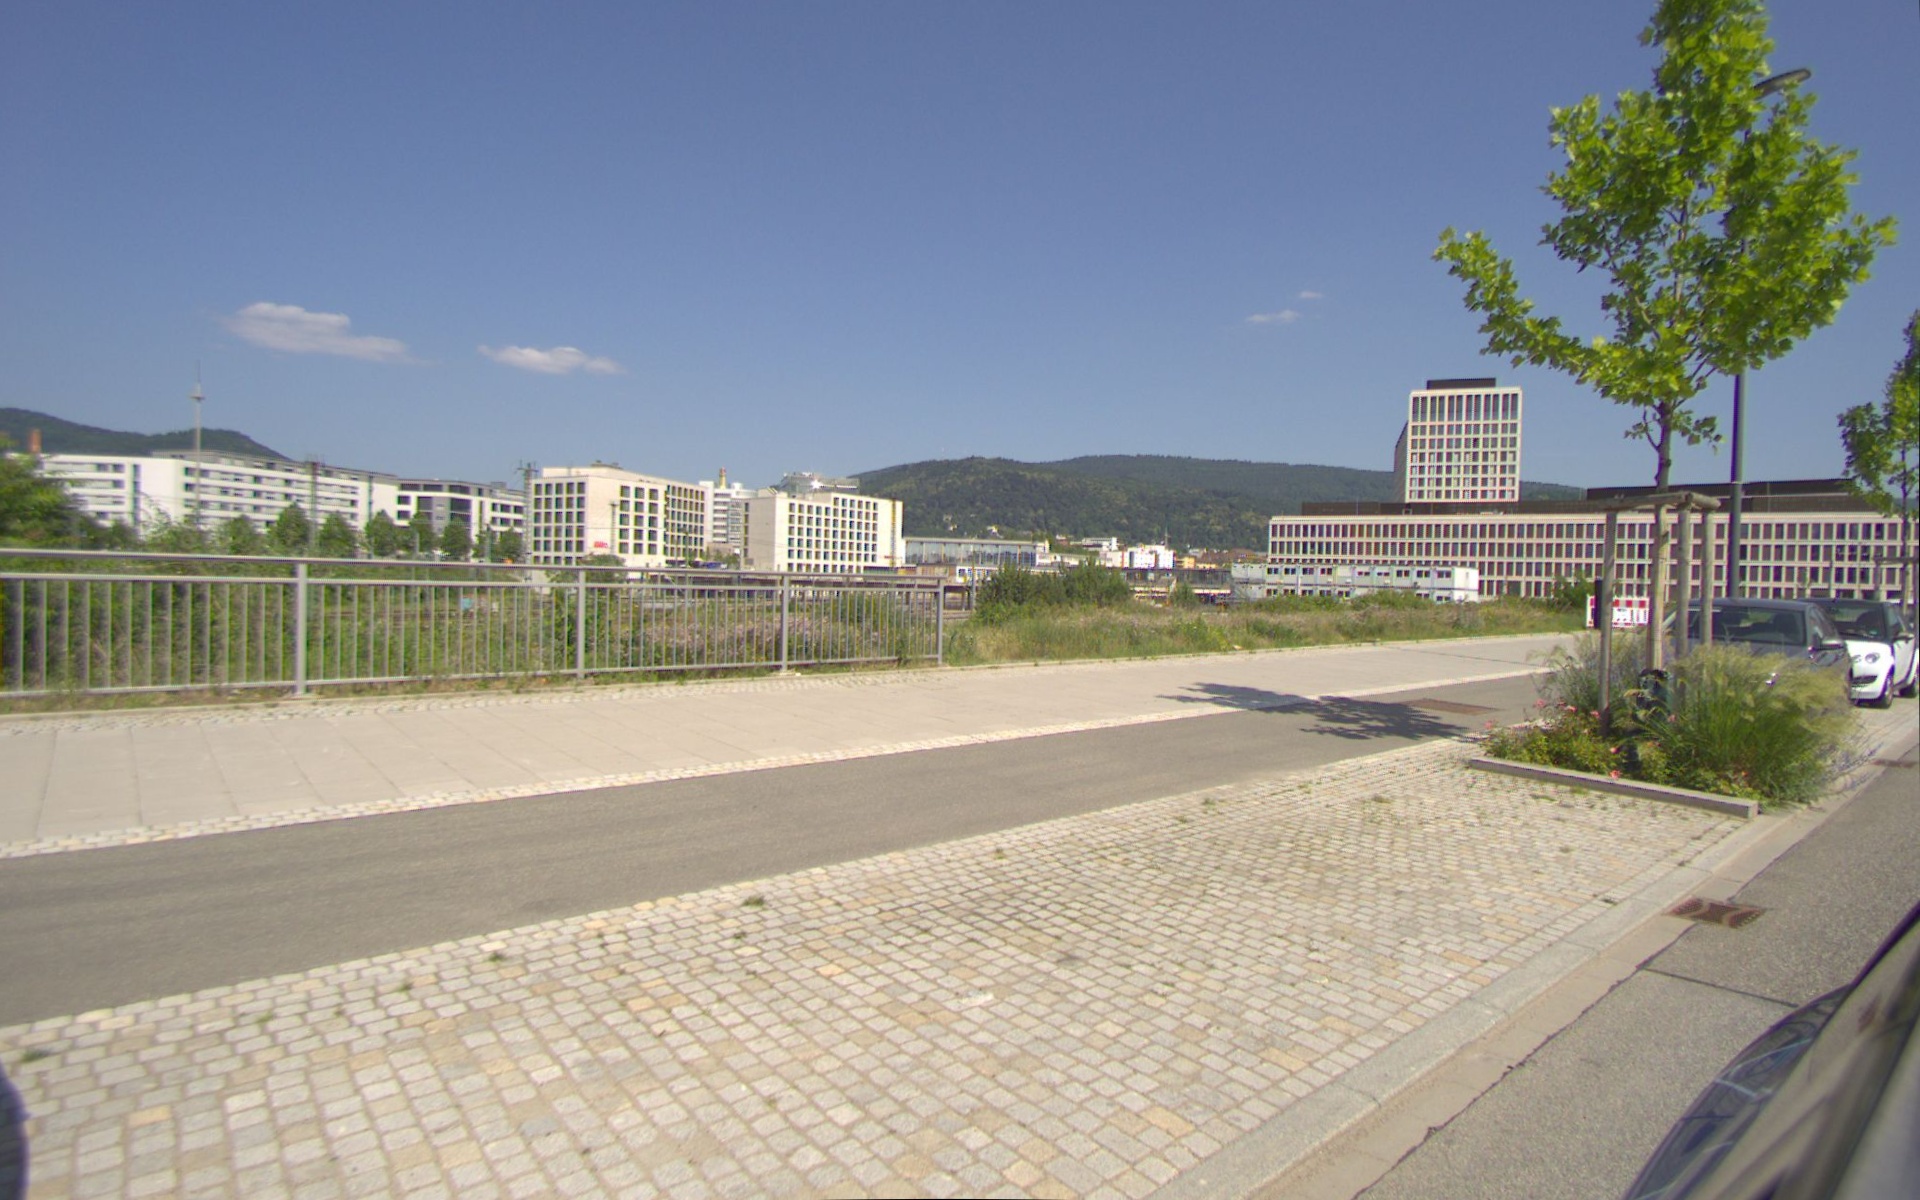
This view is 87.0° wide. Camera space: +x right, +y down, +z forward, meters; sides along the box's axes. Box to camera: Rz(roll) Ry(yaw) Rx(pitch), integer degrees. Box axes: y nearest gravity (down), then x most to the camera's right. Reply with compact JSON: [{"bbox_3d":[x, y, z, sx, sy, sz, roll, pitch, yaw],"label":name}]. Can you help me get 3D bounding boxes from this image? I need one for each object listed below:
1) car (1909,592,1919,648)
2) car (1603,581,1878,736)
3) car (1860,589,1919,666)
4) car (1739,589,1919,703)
[{"bbox_3d":[27.564,0.560,27.555,4.082,1.497,1.914,0,2,-38],"label":"car"},{"bbox_3d":[9.042,0.553,11.622,3.883,1.481,1.708,0,1,-40],"label":"car"},{"bbox_3d":[20.567,0.556,21.497,3.932,1.528,1.749,0,1,-42],"label":"car"},{"bbox_3d":[13.342,0.601,15.208,4.011,1.481,1.708,0,1,-39],"label":"car"}]
